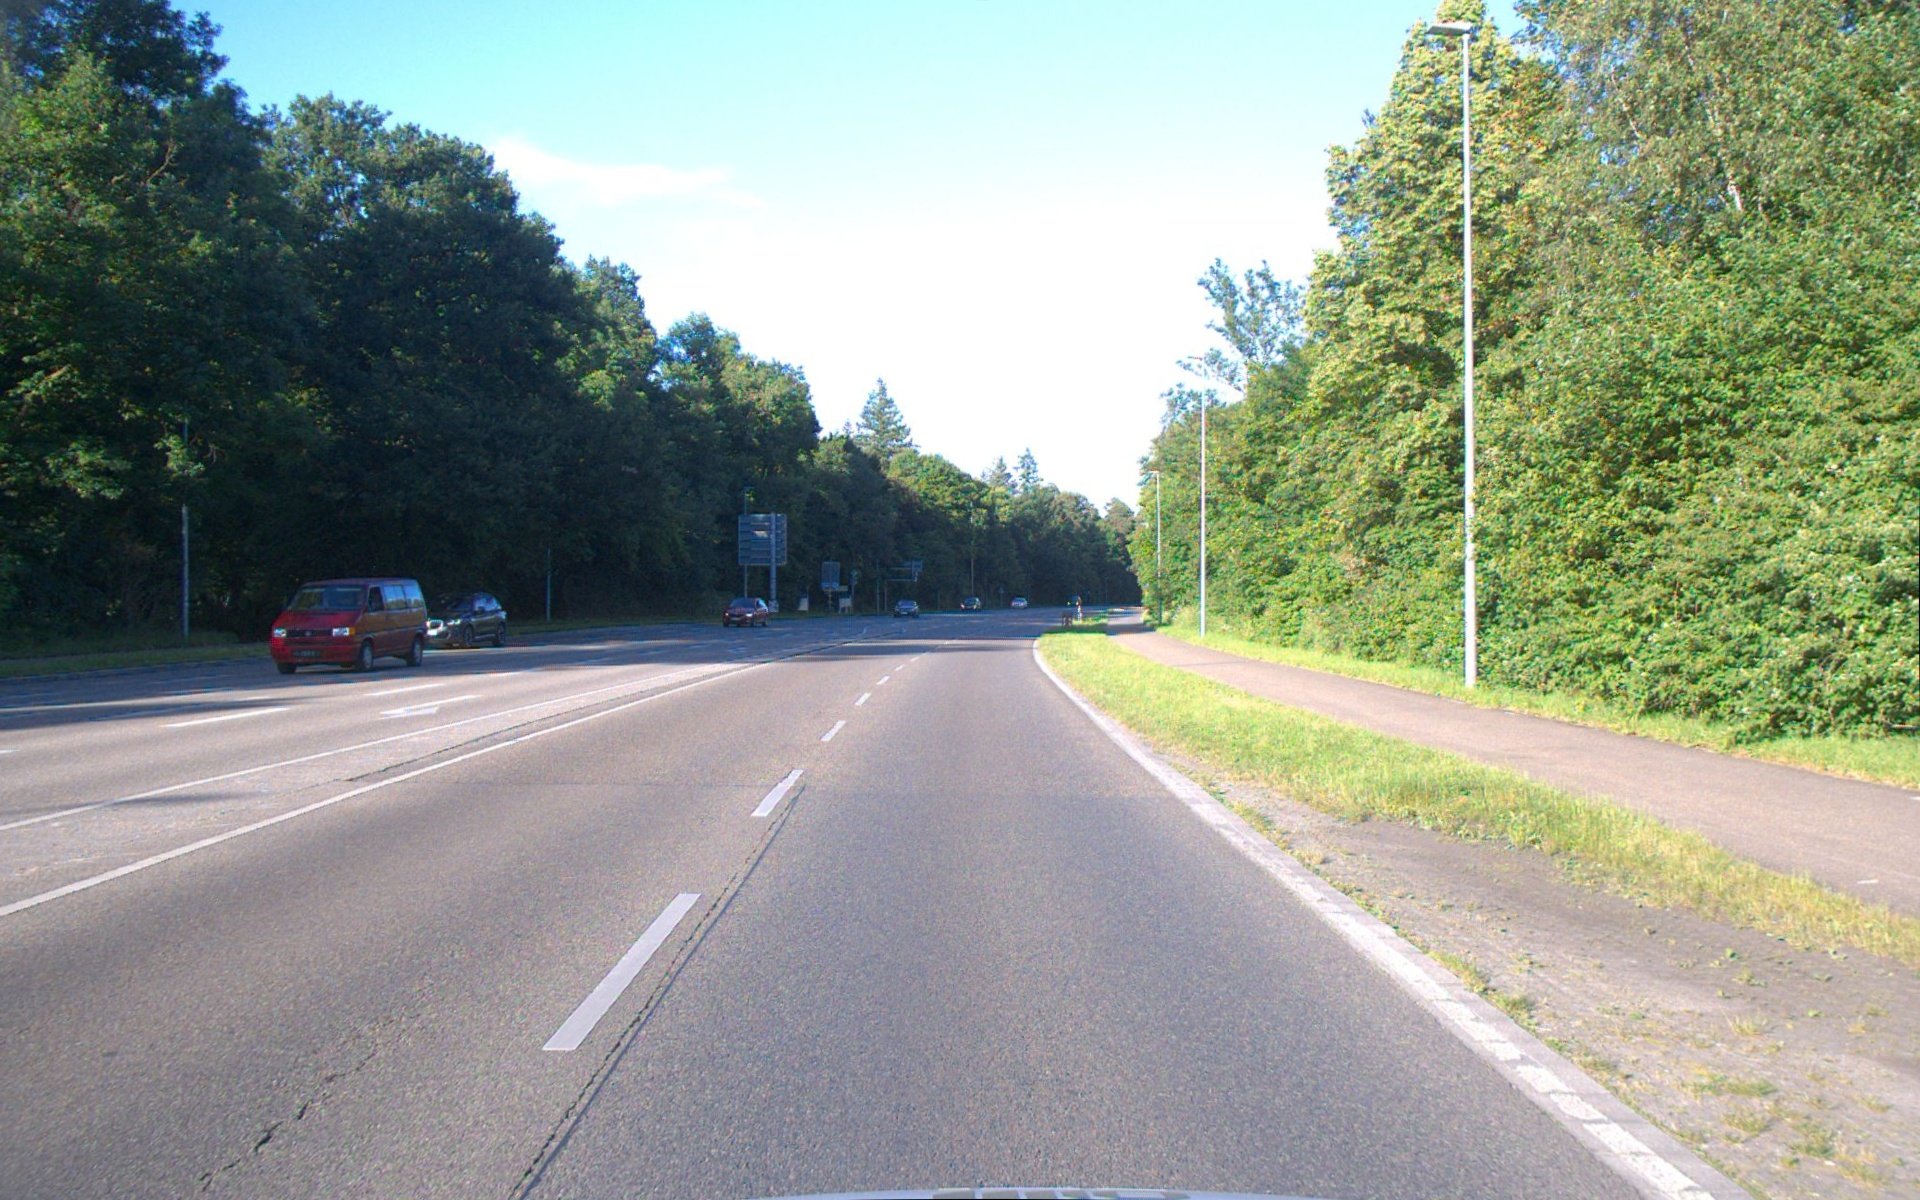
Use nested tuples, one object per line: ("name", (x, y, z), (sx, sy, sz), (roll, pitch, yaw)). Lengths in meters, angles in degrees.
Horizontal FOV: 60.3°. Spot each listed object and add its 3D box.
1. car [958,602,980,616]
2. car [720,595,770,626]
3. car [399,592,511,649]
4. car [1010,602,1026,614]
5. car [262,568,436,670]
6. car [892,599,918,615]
("car", (0.968, 1.007, 182.248), (1.786, 1.572, 4.260), (1, 0, 8))
("car", (-11.225, 0.539, 86.617), (1.952, 1.591, 4.339), (0, 0, 2))
("car", (-15.456, 0.594, 50.889), (1.953, 1.665, 4.843), (0, 0, 0))
("car", (7.836, 1.112, 221.960), (1.786, 1.530, 4.309), (1, 0, 7))
("car", (-12.886, 0.395, 35.202), (1.953, 1.996, 4.647), (-1, 0, 0))
("car", (-4.297, 0.552, 129.460), (1.708, 1.256, 4.674), (0, 0, 2))
